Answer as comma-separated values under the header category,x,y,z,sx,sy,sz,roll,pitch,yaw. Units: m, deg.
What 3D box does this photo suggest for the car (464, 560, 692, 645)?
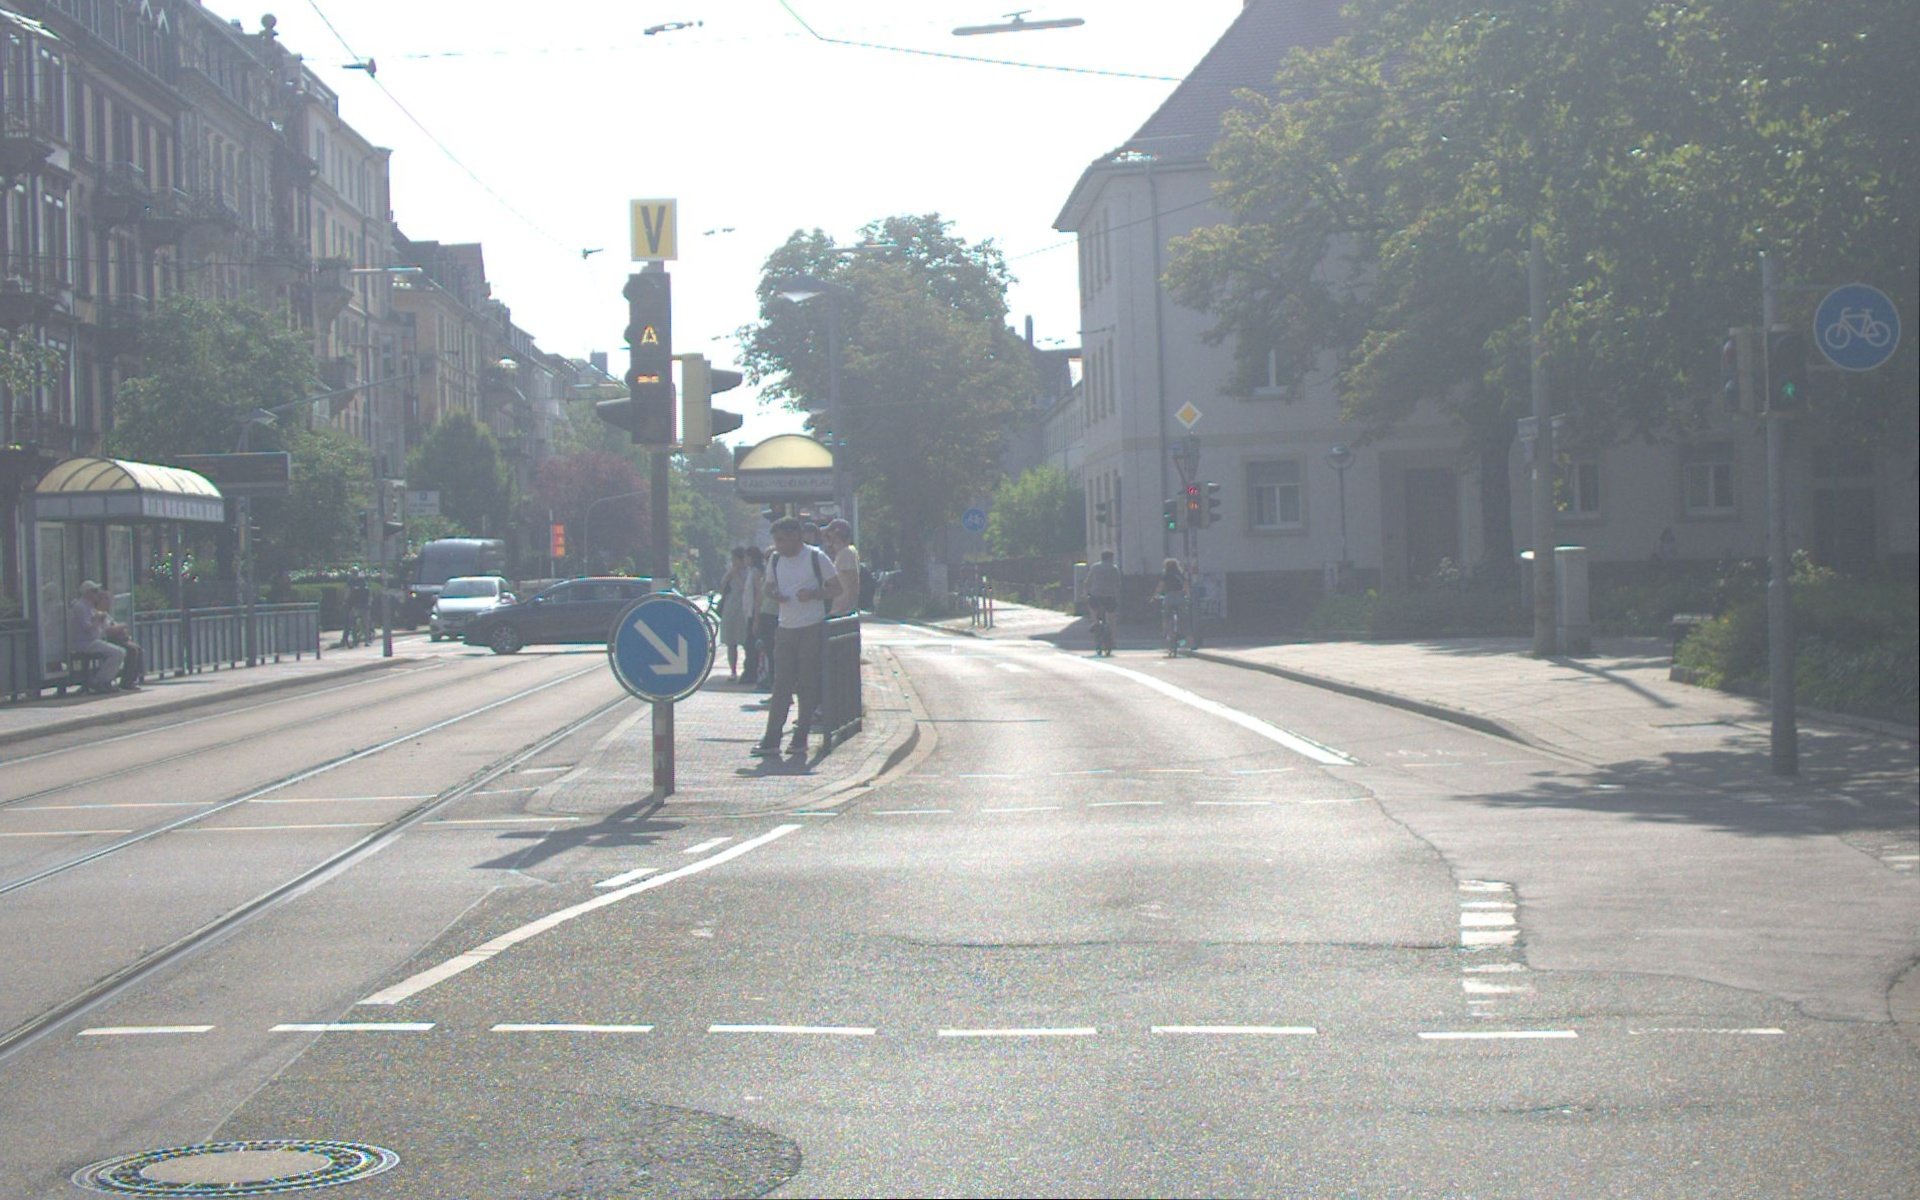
category,x,y,z,sx,sy,sz,roll,pitch,yaw
car,-7.577,0.036,68.474,4.321,1.564,2.000,-2,1,-2

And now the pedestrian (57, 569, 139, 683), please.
category,x,y,z,sx,sy,sz,roll,pitch,yaw
pedestrian,-10.546,0.312,42.065,0.827,1.354,0.776,-2,1,-5

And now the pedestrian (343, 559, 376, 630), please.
category,x,y,z,sx,sy,sz,roll,pitch,yaw
pedestrian,-14.879,-0.145,85.195,0.750,1.725,0.772,-2,1,-10

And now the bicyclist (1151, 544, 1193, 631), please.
category,x,y,z,sx,sy,sz,roll,pitch,yaw
bicyclist,3.500,-0.216,56.794,0.558,1.412,0.872,-2,1,-3

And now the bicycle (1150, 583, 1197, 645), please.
category,x,y,z,sx,sy,sz,roll,pitch,yaw
bicycle,3.520,0.217,56.785,0.558,0.974,1.856,-2,1,-3

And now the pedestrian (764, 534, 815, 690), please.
category,x,y,z,sx,sy,sz,roll,pitch,yaw
pedestrian,-1.947,0.134,39.302,0.543,1.753,0.534,1,3,-1

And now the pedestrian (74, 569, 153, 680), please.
category,x,y,z,sx,sy,sz,roll,pitch,yaw
pedestrian,-10.592,0.303,43.041,0.827,1.354,0.776,-2,1,-5

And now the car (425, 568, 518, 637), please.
category,x,y,z,sx,sy,sz,roll,pitch,yaw
car,-12.229,0.044,86.250,1.801,1.648,3.642,-2,1,0

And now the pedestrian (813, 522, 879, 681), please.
category,x,y,z,sx,sy,sz,roll,pitch,yaw
pedestrian,-1.282,0.013,38.686,0.709,1.753,0.534,1,3,-1

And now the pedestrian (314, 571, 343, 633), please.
category,x,y,z,sx,sy,sz,roll,pitch,yaw
pedestrian,-17.820,0.056,97.018,0.750,1.725,0.772,-2,1,-10

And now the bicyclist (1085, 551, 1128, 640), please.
category,x,y,z,sx,sy,sz,roll,pitch,yaw
bicyclist,2.496,-0.080,58.649,0.629,1.502,0.678,-2,1,-3

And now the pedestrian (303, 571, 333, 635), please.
category,x,y,z,sx,sy,sz,roll,pitch,yaw
pedestrian,-17.565,0.088,94.095,0.750,1.725,0.772,-2,1,-10

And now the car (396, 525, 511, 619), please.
category,x,y,z,sx,sy,sz,roll,pitch,yaw
car,-14.900,-0.836,101.437,2.347,2.653,5.104,-2,1,3

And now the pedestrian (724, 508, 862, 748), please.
category,x,y,z,sx,sy,sz,roll,pitch,yaw
pedestrian,-1.235,0.190,25.521,0.701,1.719,0.747,3,3,32

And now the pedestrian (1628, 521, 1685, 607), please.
category,x,y,z,sx,sy,sz,roll,pitch,yaw
pedestrian,14.278,-0.744,70.514,0.893,1.734,0.775,-1,1,32

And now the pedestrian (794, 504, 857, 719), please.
category,x,y,z,sx,sy,sz,roll,pitch,yaw
pedestrian,-1.162,0.095,29.787,0.504,1.827,0.534,1,3,-1

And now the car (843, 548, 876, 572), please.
category,x,y,z,sx,sy,sz,roll,pitch,yaw
car,-7.529,-2.962,257.368,1.994,1.777,3.999,0,1,6

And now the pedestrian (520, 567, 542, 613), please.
category,x,y,z,sx,sy,sz,roll,pitch,yaw
pedestrian,-16.349,-0.374,131.037,0.750,1.725,0.772,-2,1,-10

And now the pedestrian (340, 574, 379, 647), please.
category,x,y,z,sx,sy,sz,roll,pitch,yaw
pedestrian,-14.474,0.257,82.895,0.750,1.725,0.771,-2,0,1

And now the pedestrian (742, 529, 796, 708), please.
category,x,y,z,sx,sy,sz,roll,pitch,yaw
pedestrian,-1.915,0.180,34.485,0.504,1.753,0.534,1,3,-1

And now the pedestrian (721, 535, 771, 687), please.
category,x,y,z,sx,sy,sz,roll,pitch,yaw
pedestrian,-2.538,0.125,40.716,0.532,1.753,0.545,1,3,0

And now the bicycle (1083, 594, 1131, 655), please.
category,x,y,z,sx,sy,sz,roll,pitch,yaw
bicycle,2.504,0.409,58.656,0.629,0.974,1.770,-2,1,-3
